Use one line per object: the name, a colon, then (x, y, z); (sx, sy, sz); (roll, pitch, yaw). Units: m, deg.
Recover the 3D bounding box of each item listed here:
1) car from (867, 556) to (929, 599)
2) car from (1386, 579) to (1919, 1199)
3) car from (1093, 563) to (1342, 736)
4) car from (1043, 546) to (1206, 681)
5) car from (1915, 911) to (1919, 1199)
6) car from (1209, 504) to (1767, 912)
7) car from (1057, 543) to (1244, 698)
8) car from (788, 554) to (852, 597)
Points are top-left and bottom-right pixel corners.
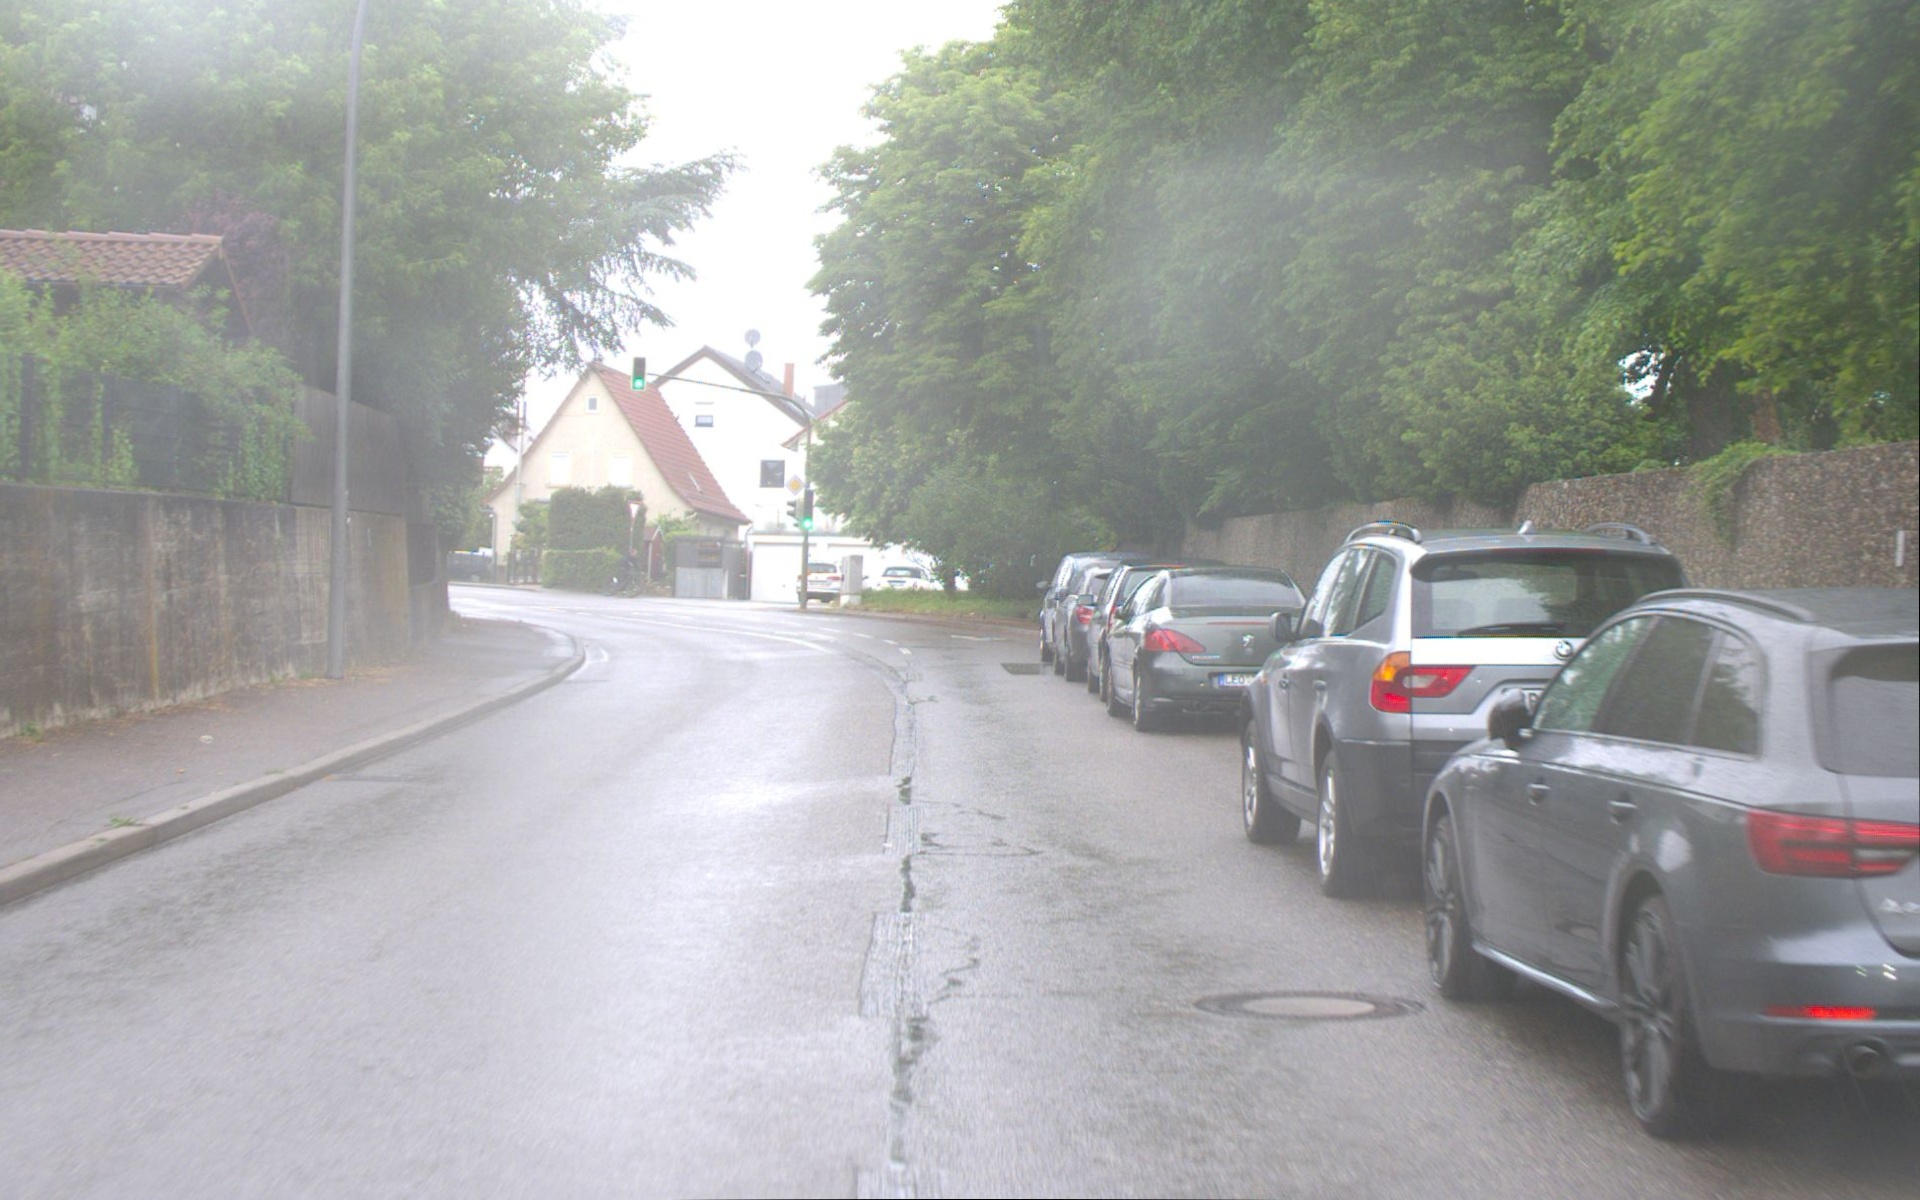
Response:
car: (-2.152, -0.794, 120.581); (1.907, 1.437, 4.000); (1, 1, 3)
car: (2.589, 0.674, 10.351); (1.764, 1.442, 4.697); (1, 0, -3)
car: (2.198, 0.386, 30.367); (1.651, 1.367, 4.182); (1, 1, -3)
car: (1.936, 0.166, 41.445); (1.647, 1.492, 4.246); (2, 0, -1)
car: (2.642, 0.706, 4.334); (1.815, 1.568, 3.880); (1, 0, 1)
car: (2.349, 0.434, 16.460); (1.742, 1.662, 4.498); (1, 0, -3)
car: (1.941, 0.210, 36.022); (1.647, 1.492, 3.709); (2, 0, -1)
car: (-4.918, -0.865, 120.984); (1.907, 1.437, 4.000); (1, 1, 3)
